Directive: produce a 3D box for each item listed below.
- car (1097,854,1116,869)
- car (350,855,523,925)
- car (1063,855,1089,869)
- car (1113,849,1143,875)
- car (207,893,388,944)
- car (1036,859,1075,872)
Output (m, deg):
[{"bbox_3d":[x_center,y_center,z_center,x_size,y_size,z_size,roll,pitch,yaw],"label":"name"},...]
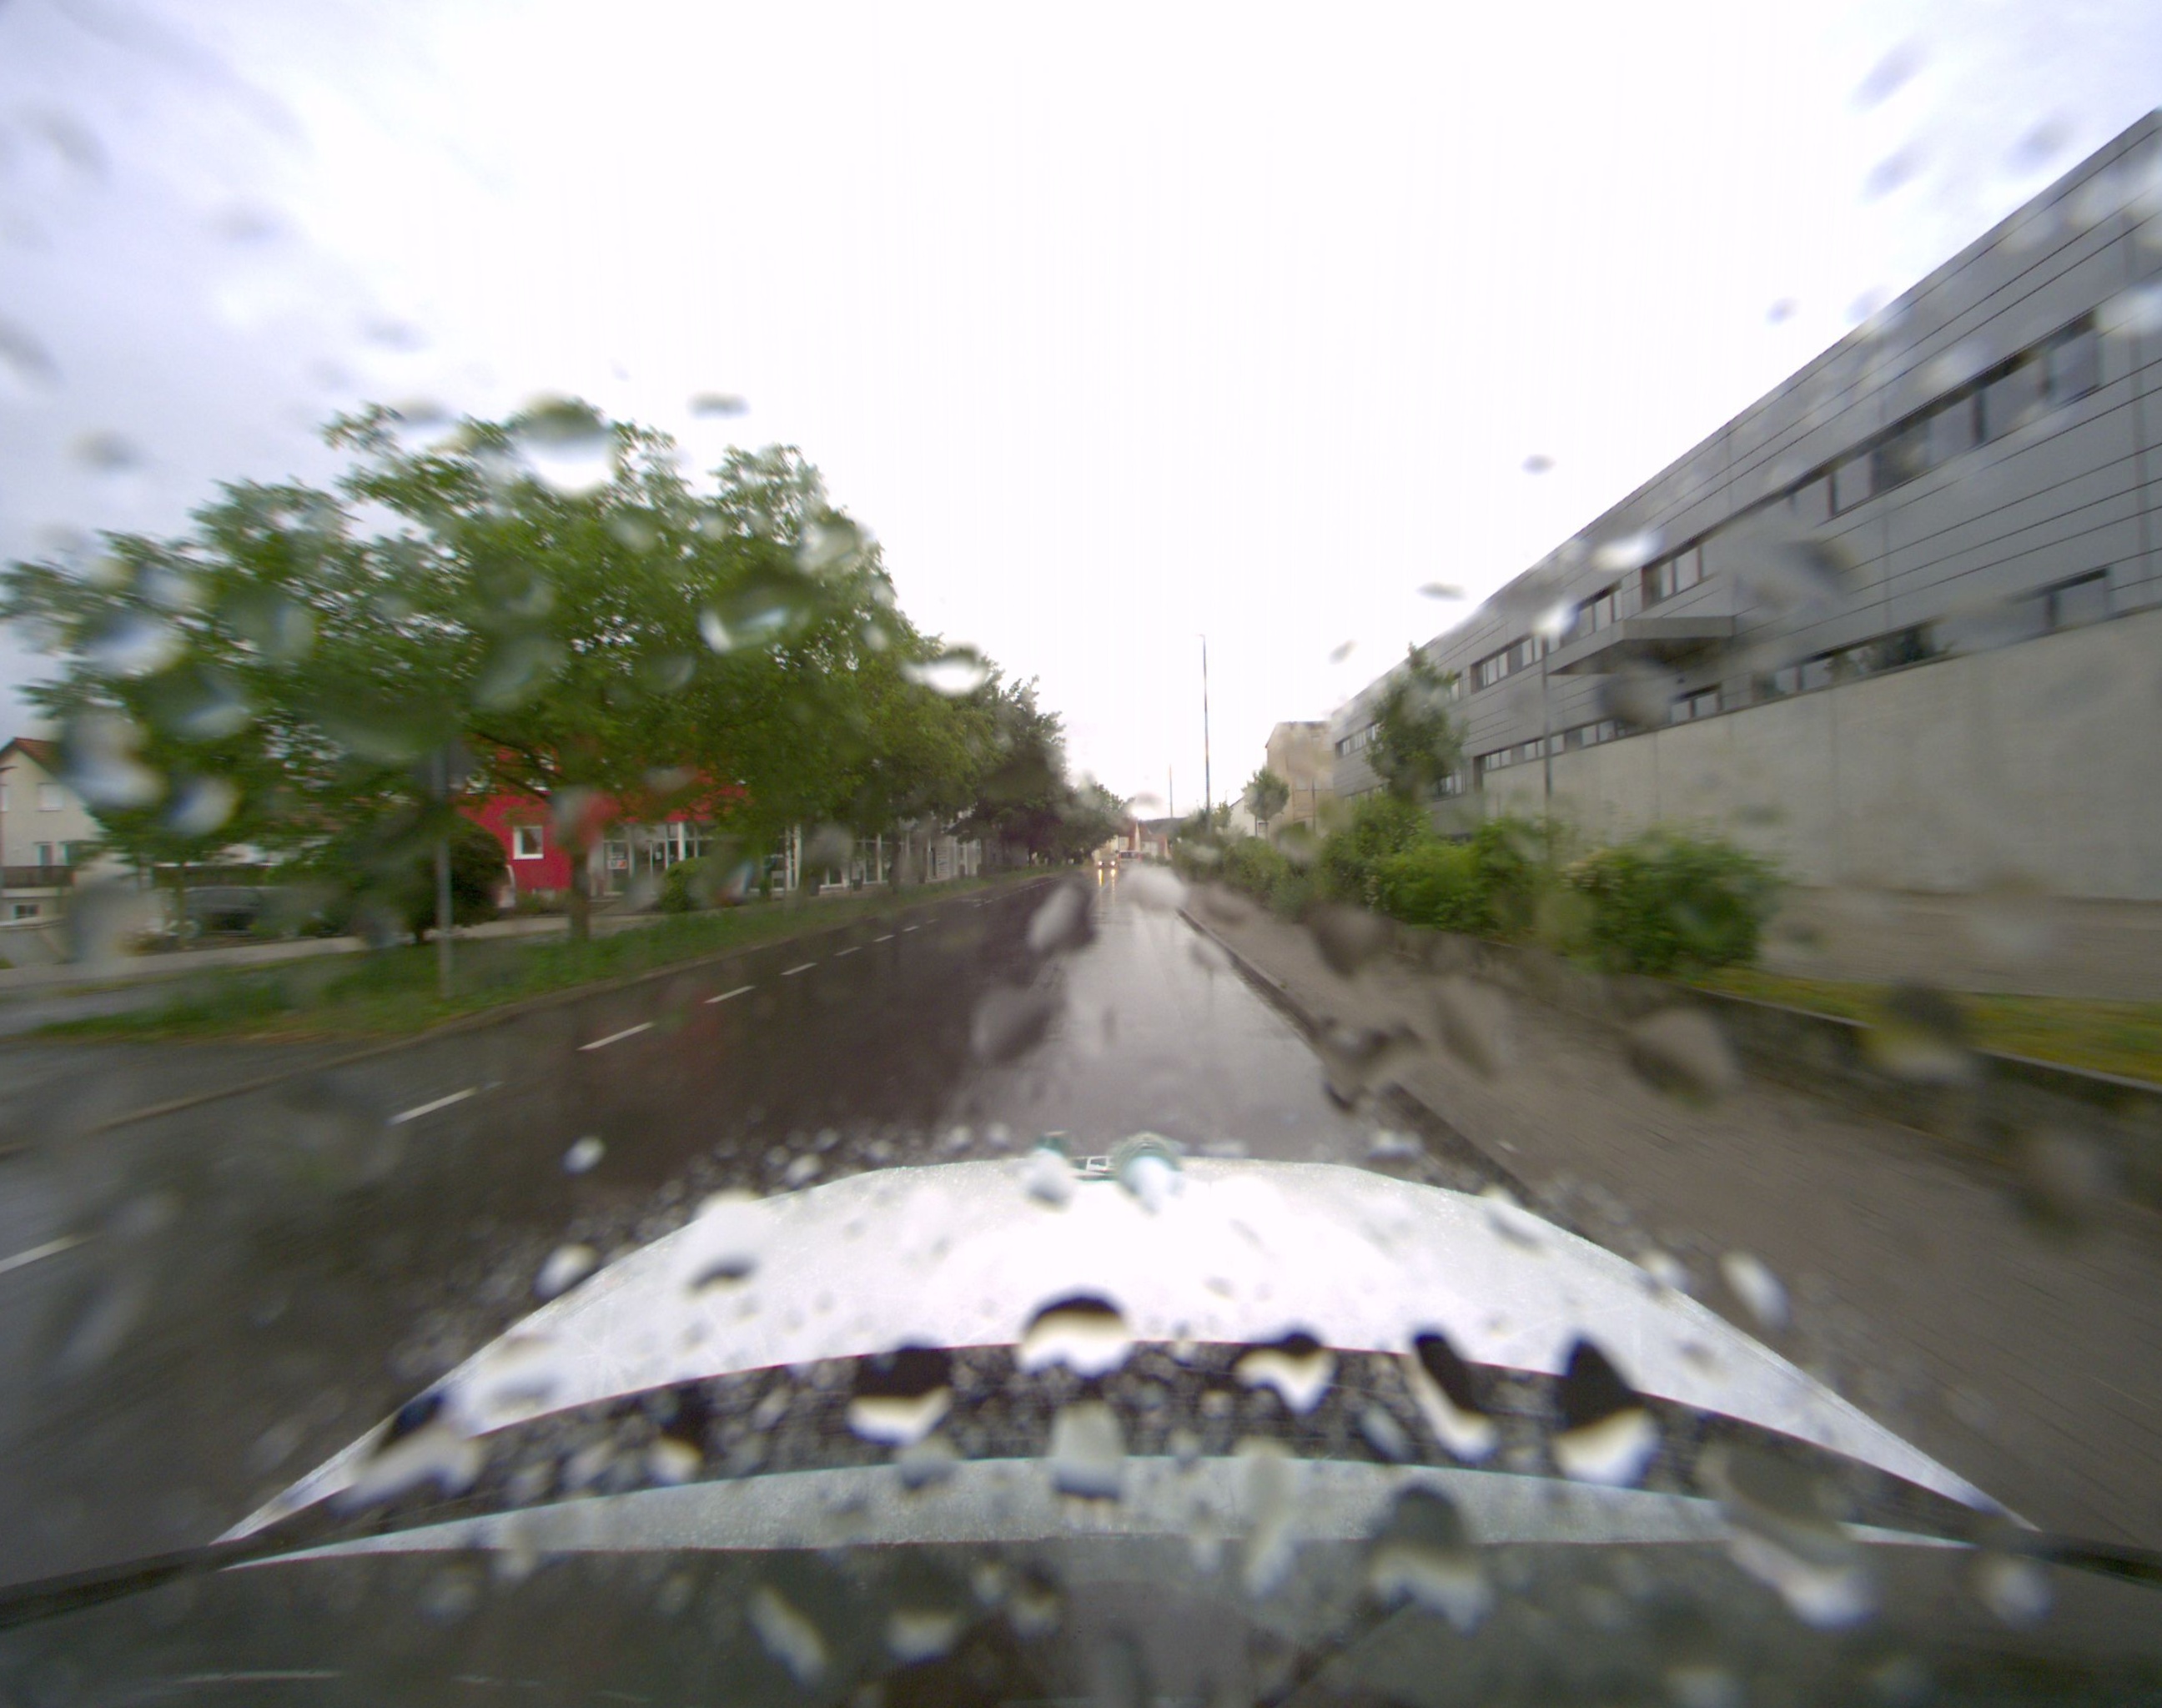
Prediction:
[{"bbox_3d":[2.887,0.788,91.422,1.842,1.554,4.508,-1,1,5],"label":"car"},{"bbox_3d":[-22.659,1.230,28.758,4.455,2.310,2.188,-1,0,5],"label":"car"},{"bbox_3d":[-0.594,0.903,96.041,2.894,1.455,1.255,-3,-4,5],"label":"car"},{"bbox_3d":[3.687,0.597,64.534,2.110,1.888,4.502,-1,1,0],"label":"car"},{"bbox_3d":[-22.083,1.788,23.060,3.391,1.244,1.704,-1,1,-2],"label":"car"},{"bbox_3d":[-2.744,1.250,87.757,3.881,1.284,1.584,-3,-2,5],"label":"car"}]
